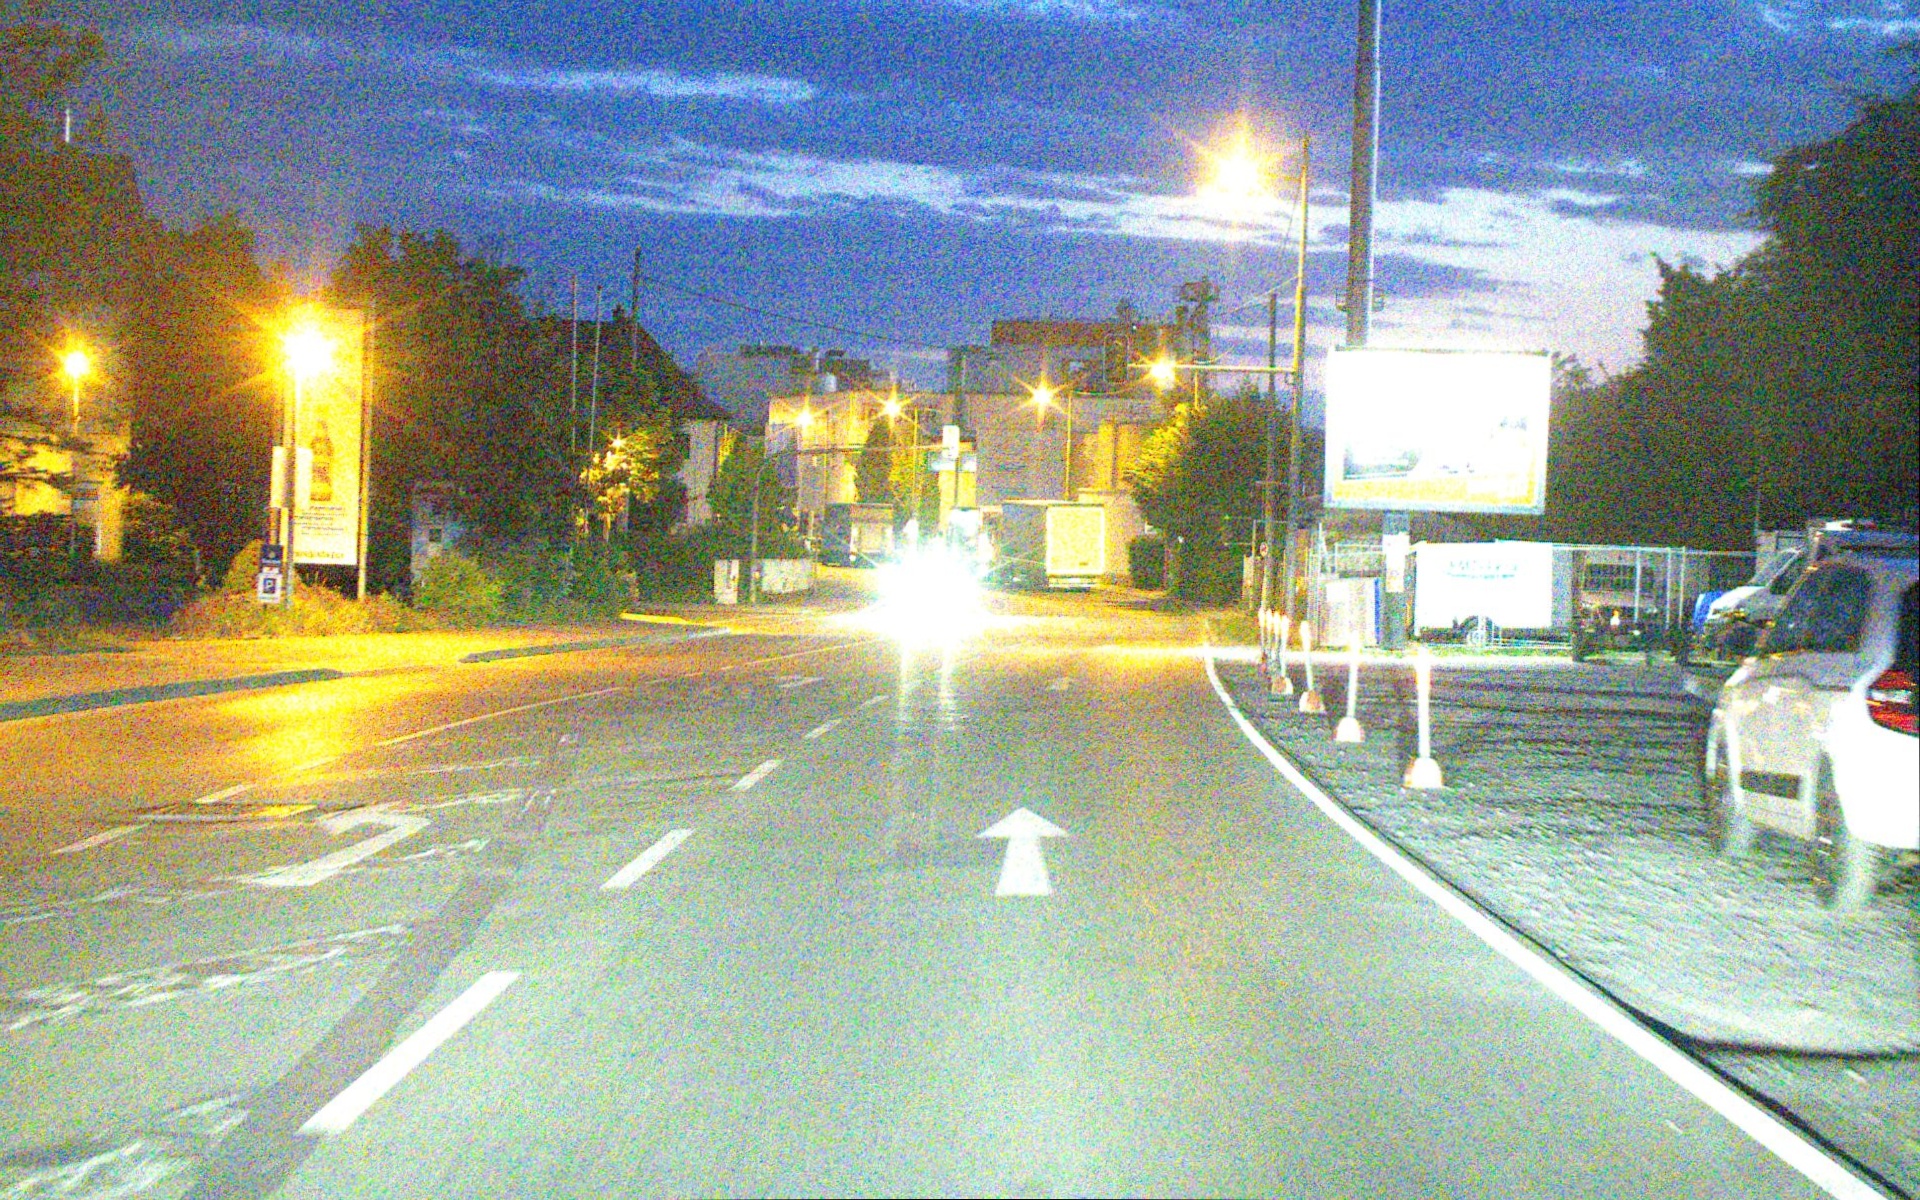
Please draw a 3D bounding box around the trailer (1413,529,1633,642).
[{"bbox_3d":[10.434,-0.293,63.714,3.751,2.007,1.612,1,2,23],"label":"trailer"}]

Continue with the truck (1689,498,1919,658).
[{"bbox_3d":[15.523,-0.353,58.858,5.530,2.591,2.472,2,1,3],"label":"truck"}]

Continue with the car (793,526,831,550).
[{"bbox_3d":[-9.706,-4.060,225.301,1.852,1.514,3.819,0,2,-12],"label":"car"}]

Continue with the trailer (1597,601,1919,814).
[{"bbox_3d":[6.156,0.657,24.479,2.174,0.963,9.615,3,1,5],"label":"trailer"}]

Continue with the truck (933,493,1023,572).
[{"bbox_3d":[0.862,-3.523,177.324,2.829,3.969,10.345,0,1,-10],"label":"truck"}]

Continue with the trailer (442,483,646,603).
[{"bbox_3d":[-9.492,-1.315,78.690,4.349,2.710,2.000,0,1,3],"label":"trailer"}]

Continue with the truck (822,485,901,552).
[{"bbox_3d":[-6.075,-5.014,210.179,3.519,3.969,10.345,0,1,-9],"label":"truck"}]

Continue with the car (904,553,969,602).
[{"bbox_3d":[-0.804,-0.791,120.566,1.994,1.621,4.752,2,1,3],"label":"car"}]

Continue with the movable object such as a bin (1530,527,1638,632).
[{"bbox_3d":[17.069,-0.578,94.171,2.227,2.715,3.865,2,1,2],"label":"movable object such as a bin"}]

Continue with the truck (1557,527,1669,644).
[{"bbox_3d":[16.481,-0.383,87.068,2.184,2.739,7.314,3,1,7],"label":"truck"}]

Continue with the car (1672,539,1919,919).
[{"bbox_3d":[4.666,0.525,16.105,1.935,1.546,4.000,2,1,3],"label":"car"}]

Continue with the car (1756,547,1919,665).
[{"bbox_3d":[15.741,0.127,56.191,5.075,1.830,1.989,2,1,6],"label":"car"}]

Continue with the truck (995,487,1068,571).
[{"bbox_3d":[3.429,-3.430,165.923,2.829,3.969,6.051,0,1,-5],"label":"truck"}]

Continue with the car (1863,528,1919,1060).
[{"bbox_3d":[3.807,0.651,8.476,1.993,1.546,4.326,2,2,1],"label":"car"}]

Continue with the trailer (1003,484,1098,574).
[{"bbox_3d":[4.118,-3.342,159.949,2.808,3.969,13.978,0,1,-5],"label":"trailer"}]

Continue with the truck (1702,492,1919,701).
[{"bbox_3d":[10.943,-0.071,41.780,2.377,2.276,7.744,2,1,2],"label":"truck"}]
